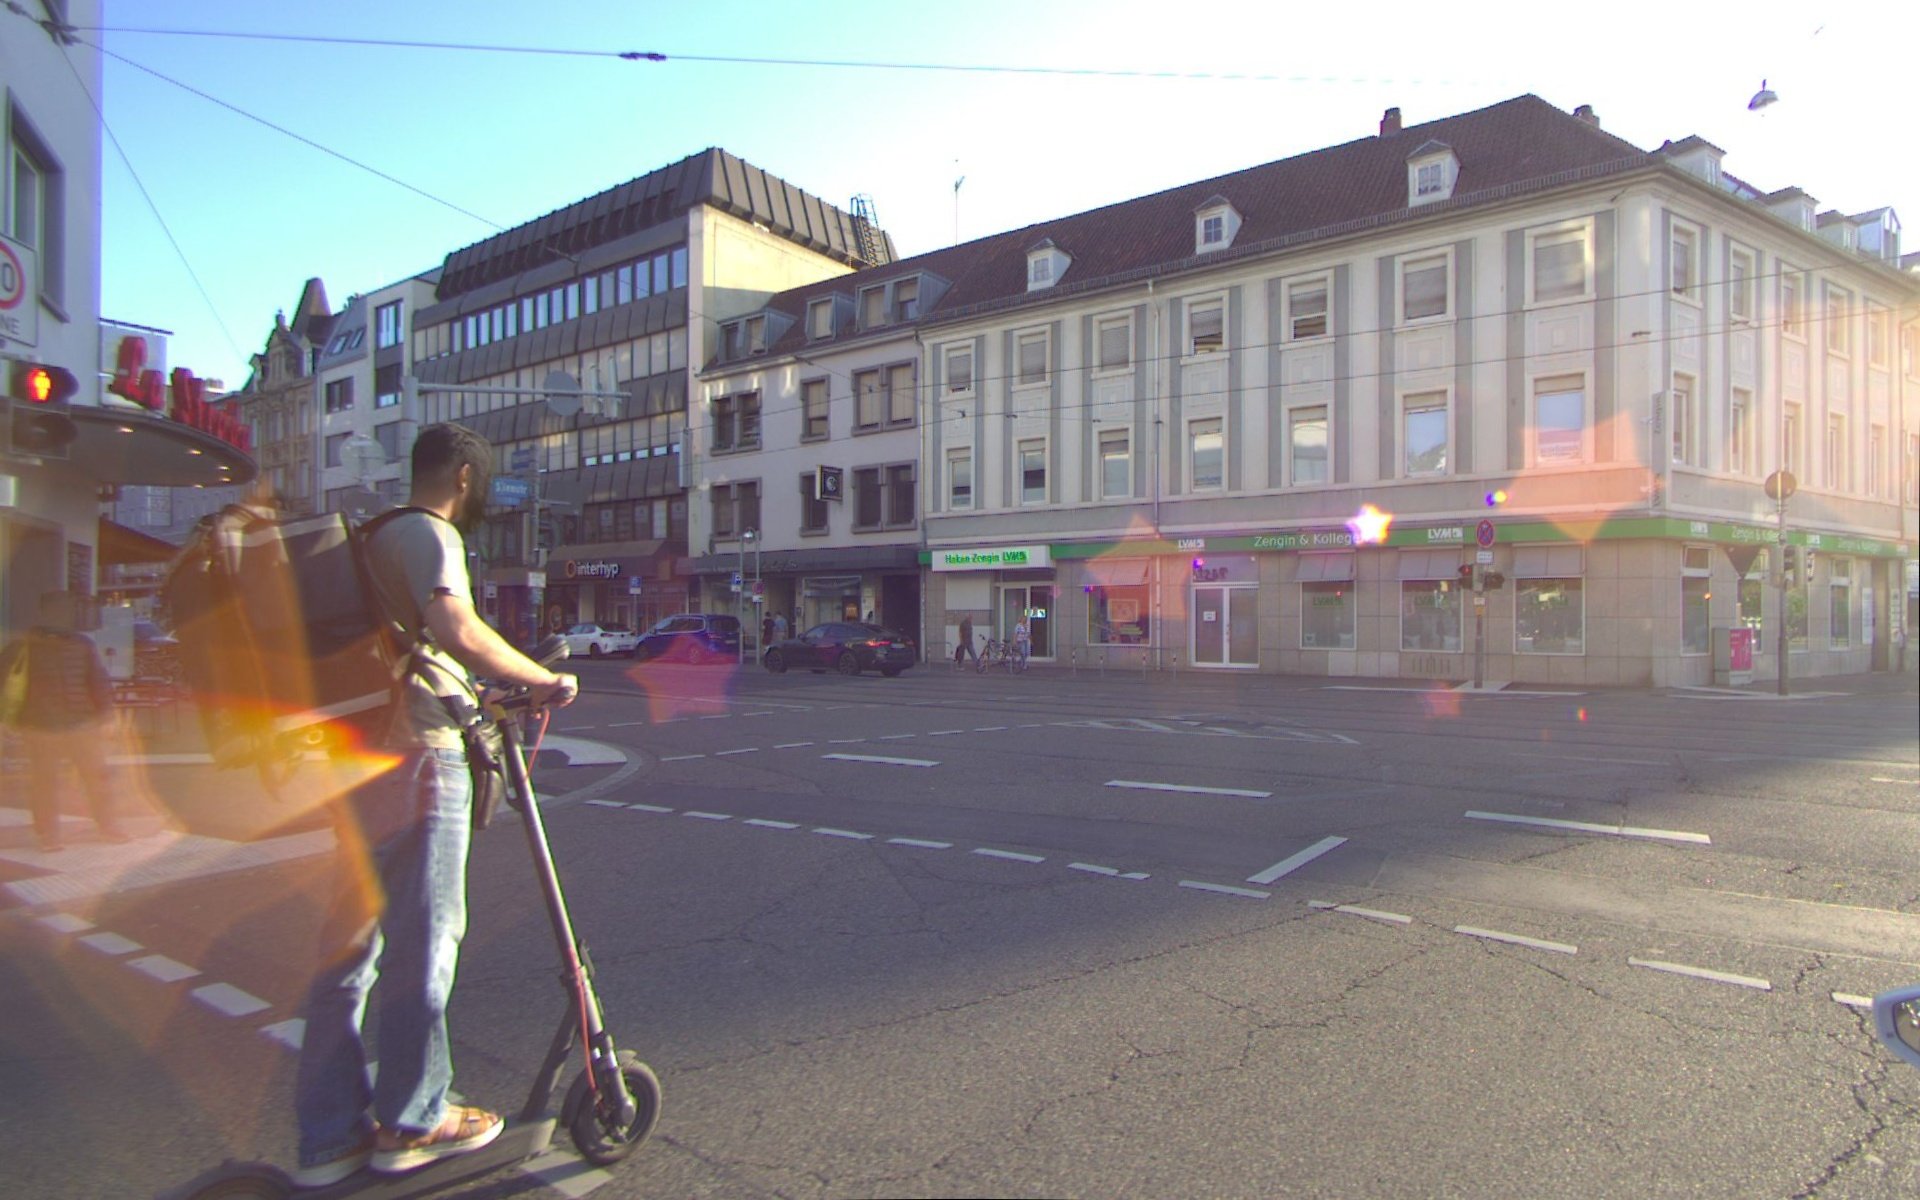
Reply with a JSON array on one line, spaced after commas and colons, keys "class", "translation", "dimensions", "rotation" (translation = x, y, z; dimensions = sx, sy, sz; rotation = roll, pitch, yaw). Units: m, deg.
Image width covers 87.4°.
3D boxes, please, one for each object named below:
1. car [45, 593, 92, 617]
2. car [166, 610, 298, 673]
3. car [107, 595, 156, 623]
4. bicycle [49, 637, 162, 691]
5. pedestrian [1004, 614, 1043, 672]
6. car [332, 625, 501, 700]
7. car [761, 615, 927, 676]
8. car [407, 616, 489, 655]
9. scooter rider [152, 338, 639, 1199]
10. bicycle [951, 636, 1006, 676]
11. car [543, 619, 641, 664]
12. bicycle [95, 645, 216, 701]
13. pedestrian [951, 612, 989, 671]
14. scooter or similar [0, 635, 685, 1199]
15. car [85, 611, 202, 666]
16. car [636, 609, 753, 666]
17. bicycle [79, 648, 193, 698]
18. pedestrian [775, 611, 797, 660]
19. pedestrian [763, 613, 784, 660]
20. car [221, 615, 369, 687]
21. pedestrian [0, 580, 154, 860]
[{"class": "car", "translation": [-70.661, 0.362, 79.600], "dimensions": [3.771, 1.772, 1.802], "rotation": [2, 0, 32]}, {"class": "car", "translation": [-20.796, 1.143, 28.661], "dimensions": [3.936, 1.661, 1.993], "rotation": [-1, -1, 37]}, {"class": "car", "translation": [-60.858, 0.668, 73.786], "dimensions": [3.934, 1.943, 1.829], "rotation": [2, 1, 35]}, {"class": "bicycle", "translation": [-18.237, 1.341, 21.476], "dimensions": [0.436, 1.085, 1.759], "rotation": [2, -1, 29]}, {"class": "pedestrian", "translation": [1.905, 1.270, 30.005], "dimensions": [0.820, 1.662, 0.805], "rotation": [-1, 0, -38]}, {"class": "car", "translation": [-11.601, 1.257, 21.375], "dimensions": [3.688, 1.376, 1.908], "rotation": [-1, 0, 39]}, {"class": "car", "translation": [-3.195, 1.158, 27.178], "dimensions": [4.473, 1.500, 1.888], "rotation": [-1, -1, 39]}, {"class": "car", "translation": [-23.654, 1.600, 46.367], "dimensions": [3.935, 1.578, 1.814], "rotation": [2, 0, 36]}, {"class": "scooter rider", "translation": [-1.310, 0.458, 2.316], "dimensions": [0.783, 1.831, 0.803], "rotation": [1, 1, -43]}, {"class": "bicycle", "translation": [0.538, 1.574, 28.451], "dimensions": [0.491, 1.073, 1.732], "rotation": [0, 0, 44]}, {"class": "car", "translation": [-14.412, 1.589, 39.308], "dimensions": [3.934, 1.645, 1.697], "rotation": [-1, 0, 35]}, {"class": "bicycle", "translation": [-15.995, 1.430, 20.025], "dimensions": [0.436, 1.045, 1.826], "rotation": [0, -2, 29]}, {"class": "pedestrian", "translation": [0.307, 1.247, 30.523], "dimensions": [0.800, 1.751, 0.825], "rotation": [0, 1, 35]}, {"class": "scooter or similar", "translation": [-1.471, 0.779, 2.151], "dimensions": [1.658, 1.368, 0.539], "rotation": [1, 0, -45]}, {"class": "car", "translation": [-26.026, 1.184, 31.988], "dimensions": [3.936, 1.661, 1.993], "rotation": [-1, -1, 37]}, {"class": "car", "translation": [-9.506, 1.296, 35.915], "dimensions": [4.061, 1.820, 1.910], "rotation": [1, 1, 35]}, {"class": "bicycle", "translation": [-17.001, 1.485, 20.767], "dimensions": [0.436, 0.961, 1.759], "rotation": [2, -1, 29]}, {"class": "pedestrian", "translation": [-6.444, 1.314, 37.182], "dimensions": [0.591, 1.757, 0.514], "rotation": [2, 1, 36]}, {"class": "pedestrian", "translation": [-6.830, 1.326, 36.786], "dimensions": [0.574, 1.707, 0.508], "rotation": [2, 1, 35]}, {"class": "car", "translation": [-16.659, 1.210, 25.113], "dimensions": [3.938, 1.499, 1.991], "rotation": [2, 0, 39]}, {"class": "pedestrian", "translation": [-5.801, 0.727, 6.468], "dimensions": [0.576, 1.678, 0.798], "rotation": [0, -1, 32]}]
